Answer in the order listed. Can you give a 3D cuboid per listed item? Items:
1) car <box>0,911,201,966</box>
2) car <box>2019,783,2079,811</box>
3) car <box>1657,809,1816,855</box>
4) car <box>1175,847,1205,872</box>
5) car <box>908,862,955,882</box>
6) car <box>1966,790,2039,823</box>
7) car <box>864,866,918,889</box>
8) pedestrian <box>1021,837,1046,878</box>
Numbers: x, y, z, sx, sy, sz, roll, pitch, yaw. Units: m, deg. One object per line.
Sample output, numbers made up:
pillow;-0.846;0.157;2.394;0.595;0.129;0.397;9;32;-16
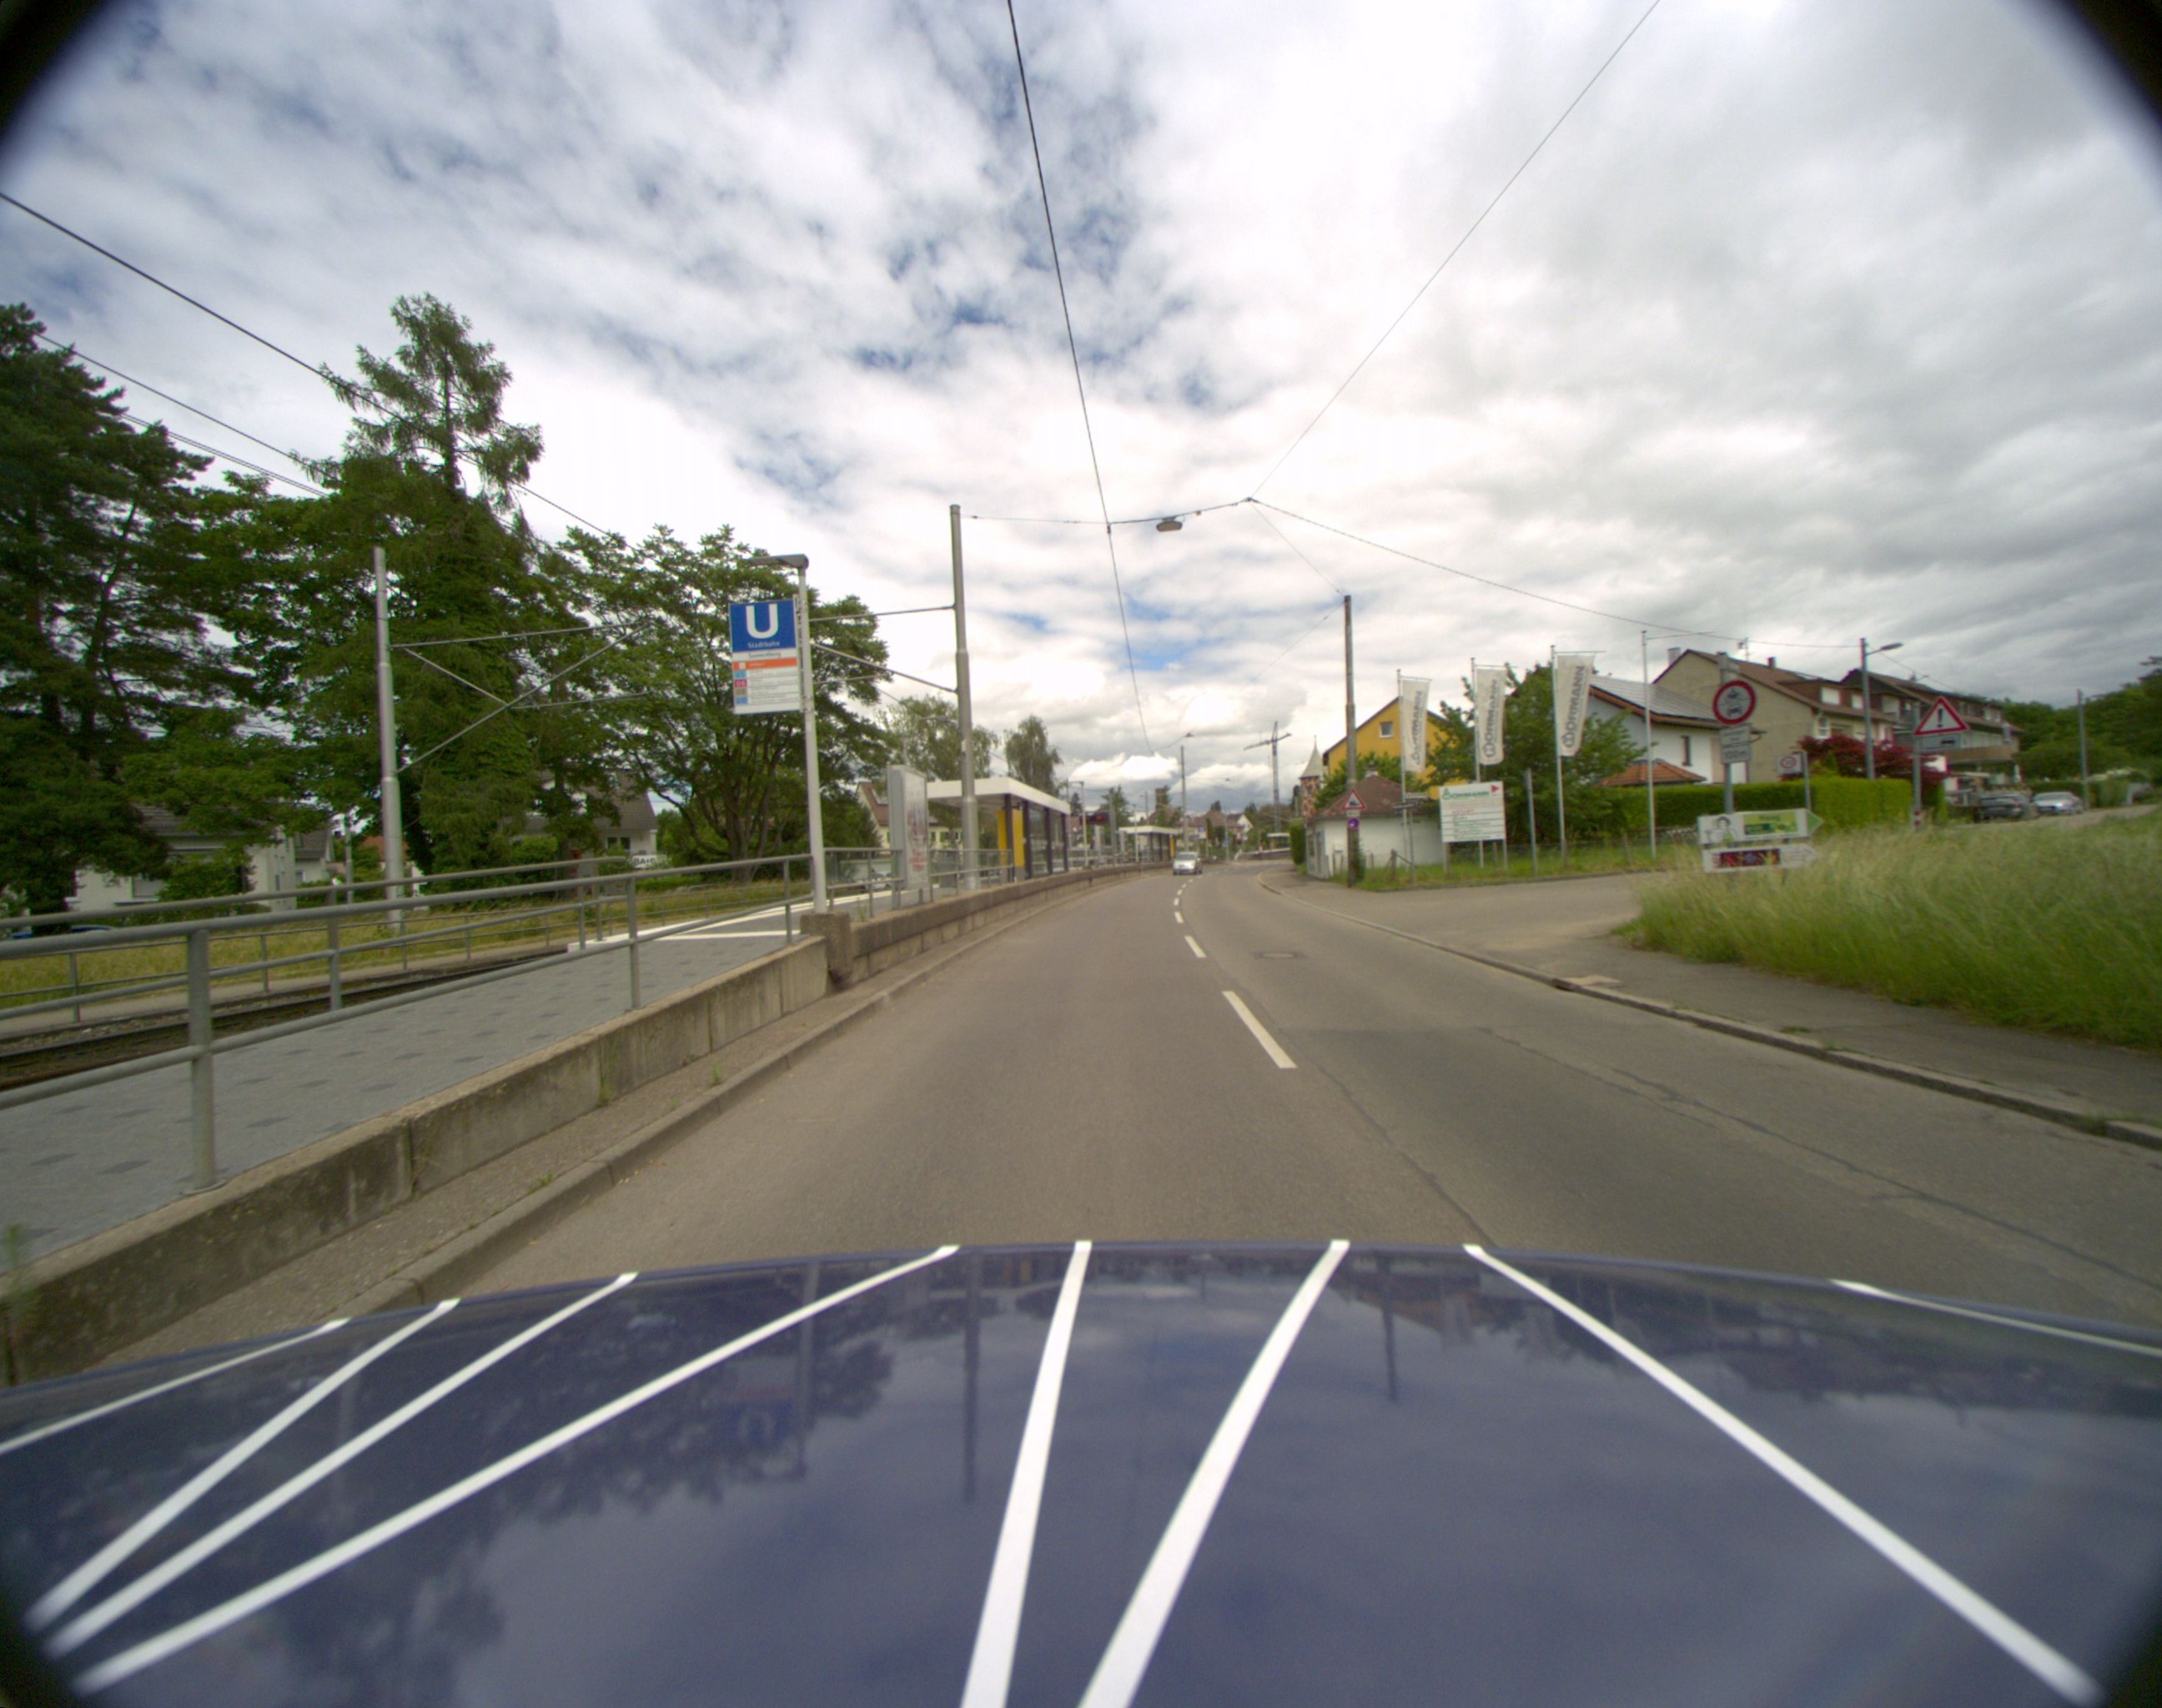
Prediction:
car;-34.690;2.954;27.010;1.792;1.431;4.005;-3;0;20
car;58.306;-3.447;45.763;3.790;1.530;1.817;-3;1;-32
car;24.214;-0.781;28.228;2.002;1.525;3.992;-4;1;-25
car;7.904;0.354;54.987;1.732;1.639;4.230;-3;0;13
car;-11.439;1.346;58.258;1.997;1.341;4.003;-3;0;13
car;48.318;-2.508;39.823;4.006;1.474;1.995;-4;0;-33
car;-13.289;1.594;53.260;1.997;1.341;4.003;-3;0;13
pedestrian;-1.576;0.121;25.191;0.654;1.304;0.692;-2;1;9
